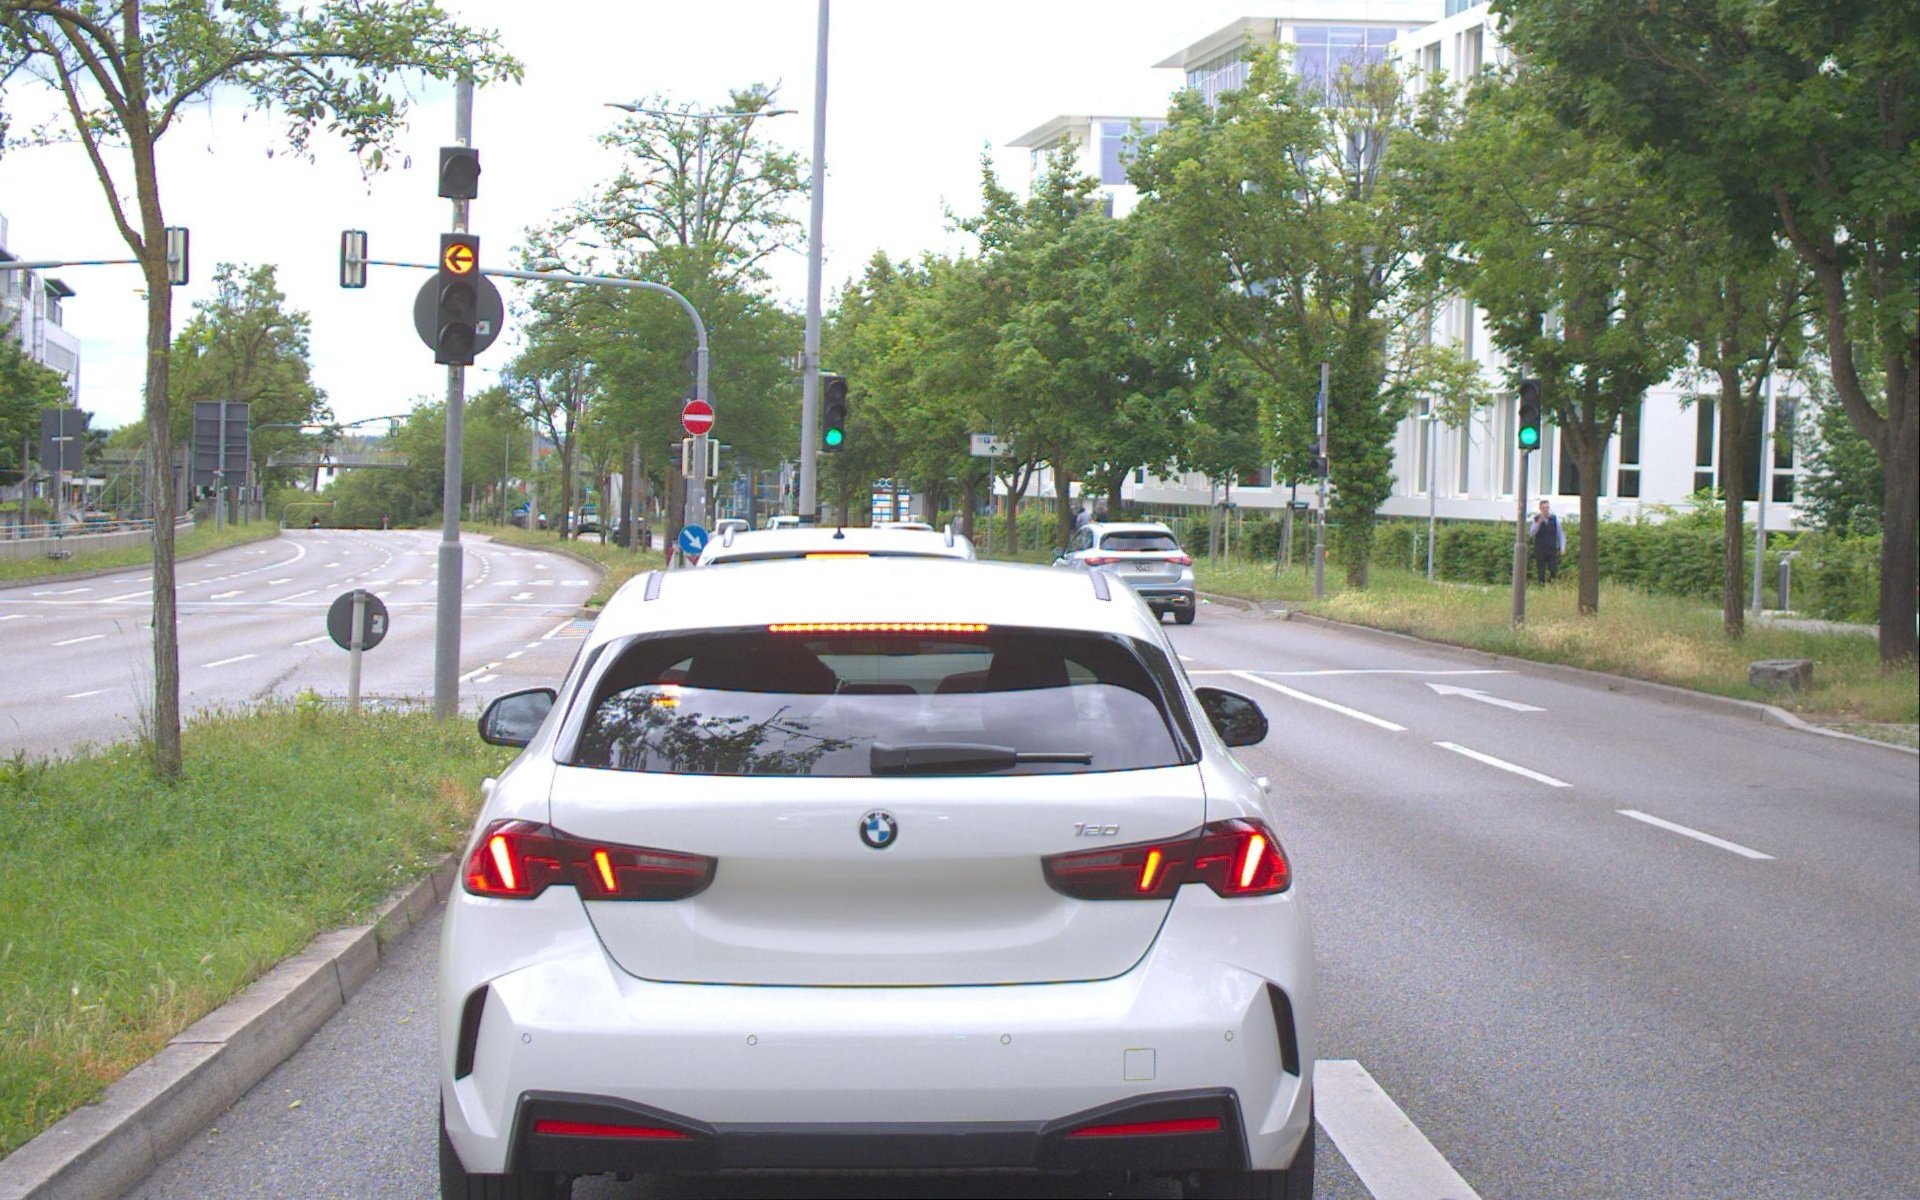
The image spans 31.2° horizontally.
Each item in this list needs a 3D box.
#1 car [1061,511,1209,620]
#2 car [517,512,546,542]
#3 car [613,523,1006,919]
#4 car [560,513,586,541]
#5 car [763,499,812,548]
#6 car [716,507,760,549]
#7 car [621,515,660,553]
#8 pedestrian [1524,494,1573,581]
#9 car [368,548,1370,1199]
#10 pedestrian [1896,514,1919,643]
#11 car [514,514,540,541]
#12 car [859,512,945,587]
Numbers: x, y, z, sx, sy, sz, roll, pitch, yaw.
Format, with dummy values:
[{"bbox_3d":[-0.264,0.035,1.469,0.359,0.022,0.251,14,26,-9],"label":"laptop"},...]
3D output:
[{"bbox_3d":[2.770,-0.569,55.249,1.993,1.664,4.001,0,1,-3],"label":"car"},{"bbox_3d":[-29.294,-4.978,235.089,1.837,2.007,4.001,1,1,-6],"label":"car"},{"bbox_3d":[-0.630,0.450,15.858,1.549,1.563,4.000,1,1,-1],"label":"car"},{"bbox_3d":[-28.949,-5.456,257.147,1.837,2.007,4.001,1,1,-6],"label":"car"},{"bbox_3d":[-6.069,-2.697,120.723,1.601,1.661,4.001,1,1,-4],"label":"car"},{"bbox_3d":[-9.131,-2.960,140.909,1.738,1.661,4.001,1,1,-4],"label":"car"},{"bbox_3d":[-14.283,-2.948,153.927,1.601,1.661,4.001,1,1,-4],"label":"car"},{"bbox_3d":[10.681,-1.133,62.407,0.741,1.568,0.674,1,0,-1],"label":"pedestrian"},{"bbox_3d":[-0.193,0.620,8.340,1.822,1.433,4.000,1,1,-1],"label":"car"},{"bbox_3d":[11.076,-0.236,38.588,0.789,1.443,1.112,1,0,-1],"label":"pedestrian"},{"bbox_3d":[-32.152,-5.372,255.293,1.837,2.007,4.001,1,1,-6],"label":"car"},{"bbox_3d":[-1.413,-1.222,82.299,1.695,1.711,4.001,1,1,-6],"label":"car"}]
